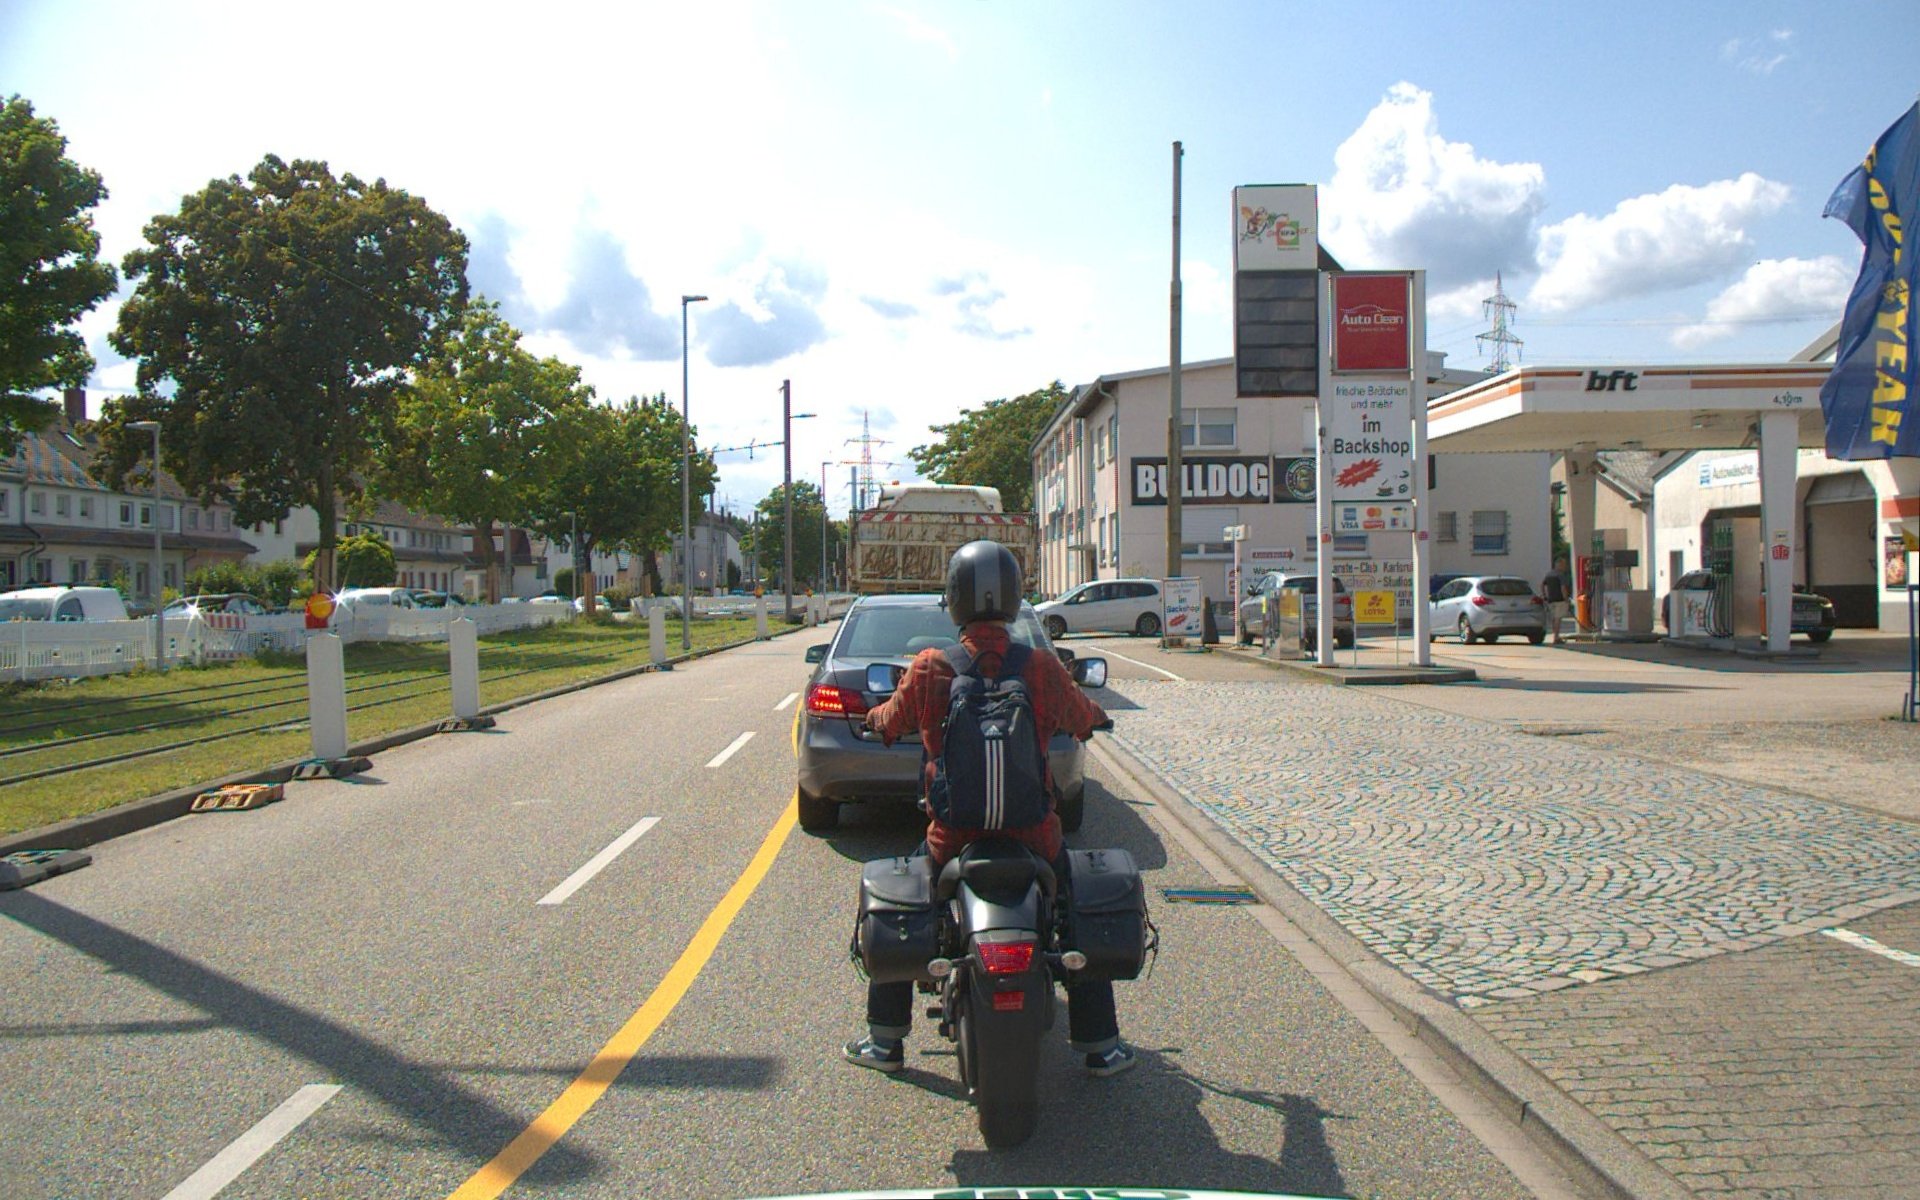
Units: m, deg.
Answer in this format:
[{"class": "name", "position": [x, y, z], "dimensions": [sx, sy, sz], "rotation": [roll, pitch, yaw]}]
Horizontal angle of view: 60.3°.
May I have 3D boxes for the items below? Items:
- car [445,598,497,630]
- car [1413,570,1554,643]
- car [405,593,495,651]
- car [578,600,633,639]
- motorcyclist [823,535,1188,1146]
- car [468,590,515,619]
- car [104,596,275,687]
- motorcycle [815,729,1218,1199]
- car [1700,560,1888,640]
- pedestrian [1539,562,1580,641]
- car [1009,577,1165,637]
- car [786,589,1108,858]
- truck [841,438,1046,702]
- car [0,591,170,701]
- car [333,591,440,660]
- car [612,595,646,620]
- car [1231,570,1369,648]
[{"class": "car", "position": [-28.300, 0.773, 95.834], "dimensions": [1.740, 1.753, 4.127], "rotation": [-1, 0, -1]}, {"class": "car", "position": [11.718, 0.118, 37.263], "dimensions": [1.770, 1.529, 3.831], "rotation": [-1, 0, -3]}, {"class": "car", "position": [-16.975, 0.697, 55.259], "dimensions": [1.740, 1.837, 4.127], "rotation": [-1, 0, -1]}, {"class": "car", "position": [-17.056, 0.905, 79.684], "dimensions": [1.740, 1.753, 4.127], "rotation": [-1, 0, -1]}, {"class": "motorcyclist", "position": [0.116, 0.643, 5.015], "dimensions": [0.959, 1.630, 1.087], "rotation": [-1, 0, -1]}, {"class": "car", "position": [-29.425, 0.269, 103.951], "dimensions": [1.740, 1.753, 4.127], "rotation": [-1, 0, -1]}, {"class": "car", "position": [-16.676, 0.853, 36.024], "dimensions": [1.740, 1.805, 4.227], "rotation": [-1, 0, -1]}, {"class": "motorcycle", "position": [0.118, 0.997, 5.321], "dimensions": [0.959, 0.913, 2.653], "rotation": [-1, 0, -1]}, {"class": "car", "position": [16.973, -0.017, 33.860], "dimensions": [1.770, 1.529, 3.832], "rotation": [-1, 0, -3]}, {"class": "pedestrian", "position": [12.950, 0.029, 35.709], "dimensions": [0.696, 1.685, 0.546], "rotation": [-1, 0, 35]}, {"class": "car", "position": [3.592, 0.182, 47.064], "dimensions": [4.152, 1.570, 1.669], "rotation": [-1, 0, -9]}, {"class": "car", "position": [-0.100, 0.681, 11.284], "dimensions": [1.786, 1.478, 3.999], "rotation": [1, 0, -1]}, {"class": "truck", "position": [-0.267, -0.424, 25.363], "dimensions": [2.585, 3.354, 8.055], "rotation": [-1, 0, -1]}, {"class": "car", "position": [-16.438, 0.783, 30.388], "dimensions": [1.740, 1.853, 4.363], "rotation": [-1, 0, -1]}, {"class": "car", "position": [-16.943, 0.713, 49.081], "dimensions": [1.740, 1.900, 4.127], "rotation": [-1, 0, -1]}, {"class": "car", "position": [-24.963, 0.541, 124.851], "dimensions": [1.740, 1.753, 4.127], "rotation": [-1, 0, -1]}, {"class": "car", "position": [7.454, 0.175, 36.628], "dimensions": [1.636, 1.589, 4.236], "rotation": [-1, 0, -8]}]
